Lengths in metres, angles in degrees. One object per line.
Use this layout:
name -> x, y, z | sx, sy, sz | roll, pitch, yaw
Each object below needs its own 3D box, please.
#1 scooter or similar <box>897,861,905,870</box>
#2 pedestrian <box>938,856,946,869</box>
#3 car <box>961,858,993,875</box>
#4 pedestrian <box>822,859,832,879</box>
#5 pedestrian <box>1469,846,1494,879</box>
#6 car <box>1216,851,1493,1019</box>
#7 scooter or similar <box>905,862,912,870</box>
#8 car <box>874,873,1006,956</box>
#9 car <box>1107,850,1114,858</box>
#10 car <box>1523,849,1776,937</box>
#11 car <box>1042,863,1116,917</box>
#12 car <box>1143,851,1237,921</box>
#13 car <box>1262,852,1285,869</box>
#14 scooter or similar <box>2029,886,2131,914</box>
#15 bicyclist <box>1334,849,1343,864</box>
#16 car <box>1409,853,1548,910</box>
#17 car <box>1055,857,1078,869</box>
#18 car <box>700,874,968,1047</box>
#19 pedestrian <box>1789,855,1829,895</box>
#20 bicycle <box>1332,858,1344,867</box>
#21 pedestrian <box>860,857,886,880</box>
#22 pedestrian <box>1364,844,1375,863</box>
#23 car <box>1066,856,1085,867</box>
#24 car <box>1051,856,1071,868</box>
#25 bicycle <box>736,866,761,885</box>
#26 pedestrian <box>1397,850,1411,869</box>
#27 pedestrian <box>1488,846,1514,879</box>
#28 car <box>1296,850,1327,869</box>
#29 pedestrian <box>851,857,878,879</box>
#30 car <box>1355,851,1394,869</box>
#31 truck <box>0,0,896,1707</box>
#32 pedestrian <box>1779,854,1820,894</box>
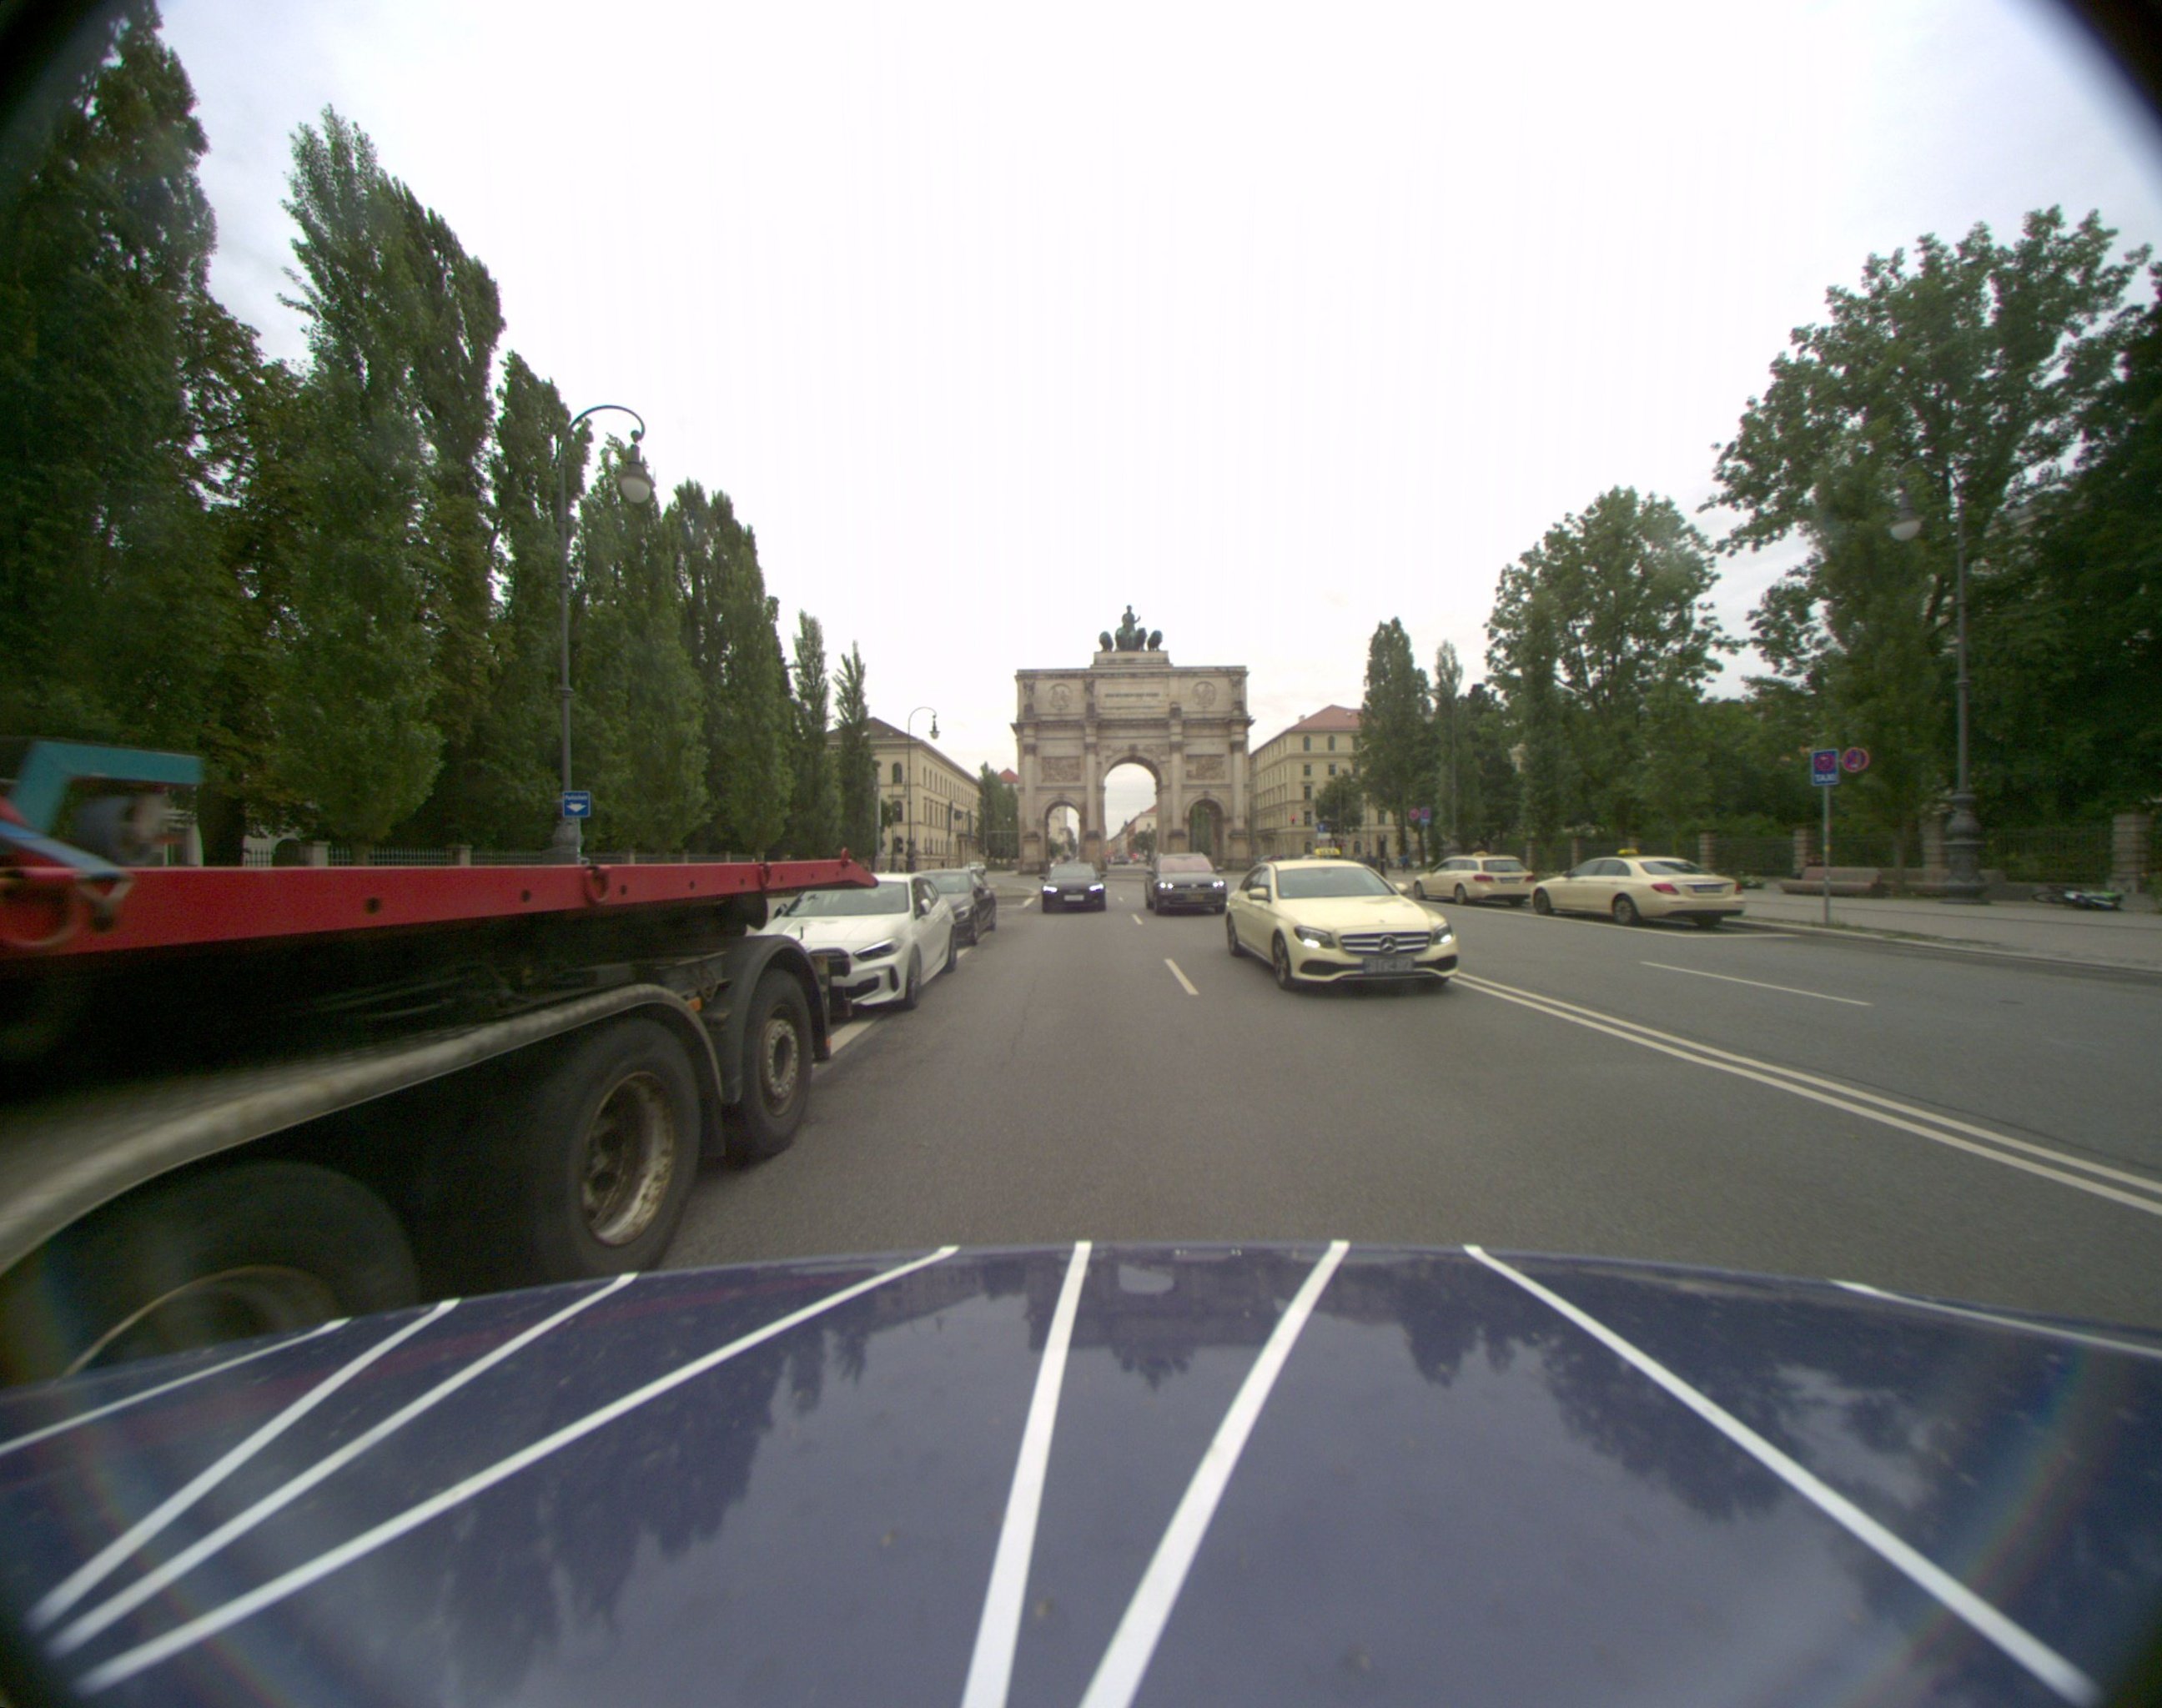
scooter or similar -> -24.548, 1.528, 103.451 | 0.567, 1.134, 1.657 | -1, 0, 2
pedestrian -> -21.250, 1.245, 116.333 | 0.944, 2.002, 1.003 | -1, 0, 2
car -> -12.179, 1.450, 89.315 | 1.887, 1.846, 4.318 | -1, 0, 19
pedestrian -> -21.907, 1.293, 65.625 | 0.591, 1.610, 0.536 | -2, 1, 1
pedestrian -> 20.838, 0.451, 39.560 | 0.846, 1.668, 0.967 | -1, 0, 7
car -> 3.142, 0.805, 9.913 | 1.919, 1.566, 4.689 | -3, 0, 1
scooter or similar -> -23.500, 1.657, 103.649 | 0.567, 1.134, 1.657 | -1, 0, 2
car -> -2.685, 1.112, 15.447 | 1.739, 1.302, 4.370 | -1, 0, 2
car -> 8.083, 0.057, 208.589 | 1.998, 2.002, 4.394 | -1, 0, 0
car -> 12.235, 0.723, 16.902 | 1.942, 1.615, 4.964 | 0, 1, 1
car -> -0.170, 1.029, 23.348 | 1.923, 1.320, 4.409 | -3, 1, -4
car -> 2.857, 0.777, 20.910 | 1.953, 1.615, 4.411 | -3, 1, 1
car -> 20.546, 0.683, 81.287 | 1.785, 1.662, 4.001 | -1, 0, 5
scooter or similar -> 23.131, 1.042, 17.652 | 2.241, 0.515, 1.329 | -1, 0, -40
bicyclist -> 29.201, 0.237, 86.257 | 0.643, 1.699, 0.859 | -1, 0, -6
car -> 12.253, 0.764, 23.852 | 1.823, 1.550, 4.858 | 1, 1, 0
car -> -2.110, 1.283, 110.594 | 1.784, 1.739, 4.327 | -1, 0, 23
car -> -2.627, 1.054, 9.221 | 1.792, 1.451, 4.217 | -2, 0, 1
pedestrian -> 24.788, 0.715, 25.868 | 0.578, 1.329, 0.838 | -1, 0, -26
bicycle -> 29.195, 0.970, 86.385 | 0.643, 0.968, 1.761 | -1, 0, -5
pedestrian -> -12.053, 0.815, 43.942 | 1.331, 1.267, 0.807 | -2, 1, -22
pedestrian -> 30.641, -0.032, 80.575 | 0.796, 2.002, 0.754 | -1, 1, -34
car -> -0.883, 1.187, 121.503 | 1.785, 1.739, 4.326 | -1, 0, 17
car -> -3.091, 1.276, 116.092 | 1.785, 1.739, 4.326 | -1, 0, 17
bicycle -> -22.755, 1.448, 52.019 | 0.674, 1.232, 2.998 | 0, 0, -5
pedestrian -> 30.188, 0.482, 70.954 | 0.916, 1.775, 0.752 | -1, 0, -28
pedestrian -> 21.662, 0.427, 39.195 | 0.846, 1.668, 0.967 | -1, 0, 7
car -> 24.377, 0.560, 80.518 | 2.004, 1.844, 4.990 | 0, 1, 2
pedestrian -> -12.749, 0.831, 44.724 | 1.372, 1.200, 0.806 | -2, 1, -28
car -> 35.642, 0.717, 92.300 | 3.997, 2.002, 2.000 | -1, 0, 0
truck -> -2.978, 0.233, 0.964 | 2.720, 3.092, 10.426 | -1, 0, 1
pedestrian -> 24.135, 0.662, 25.535 | 0.578, 1.329, 0.838 | -1, 0, -25
